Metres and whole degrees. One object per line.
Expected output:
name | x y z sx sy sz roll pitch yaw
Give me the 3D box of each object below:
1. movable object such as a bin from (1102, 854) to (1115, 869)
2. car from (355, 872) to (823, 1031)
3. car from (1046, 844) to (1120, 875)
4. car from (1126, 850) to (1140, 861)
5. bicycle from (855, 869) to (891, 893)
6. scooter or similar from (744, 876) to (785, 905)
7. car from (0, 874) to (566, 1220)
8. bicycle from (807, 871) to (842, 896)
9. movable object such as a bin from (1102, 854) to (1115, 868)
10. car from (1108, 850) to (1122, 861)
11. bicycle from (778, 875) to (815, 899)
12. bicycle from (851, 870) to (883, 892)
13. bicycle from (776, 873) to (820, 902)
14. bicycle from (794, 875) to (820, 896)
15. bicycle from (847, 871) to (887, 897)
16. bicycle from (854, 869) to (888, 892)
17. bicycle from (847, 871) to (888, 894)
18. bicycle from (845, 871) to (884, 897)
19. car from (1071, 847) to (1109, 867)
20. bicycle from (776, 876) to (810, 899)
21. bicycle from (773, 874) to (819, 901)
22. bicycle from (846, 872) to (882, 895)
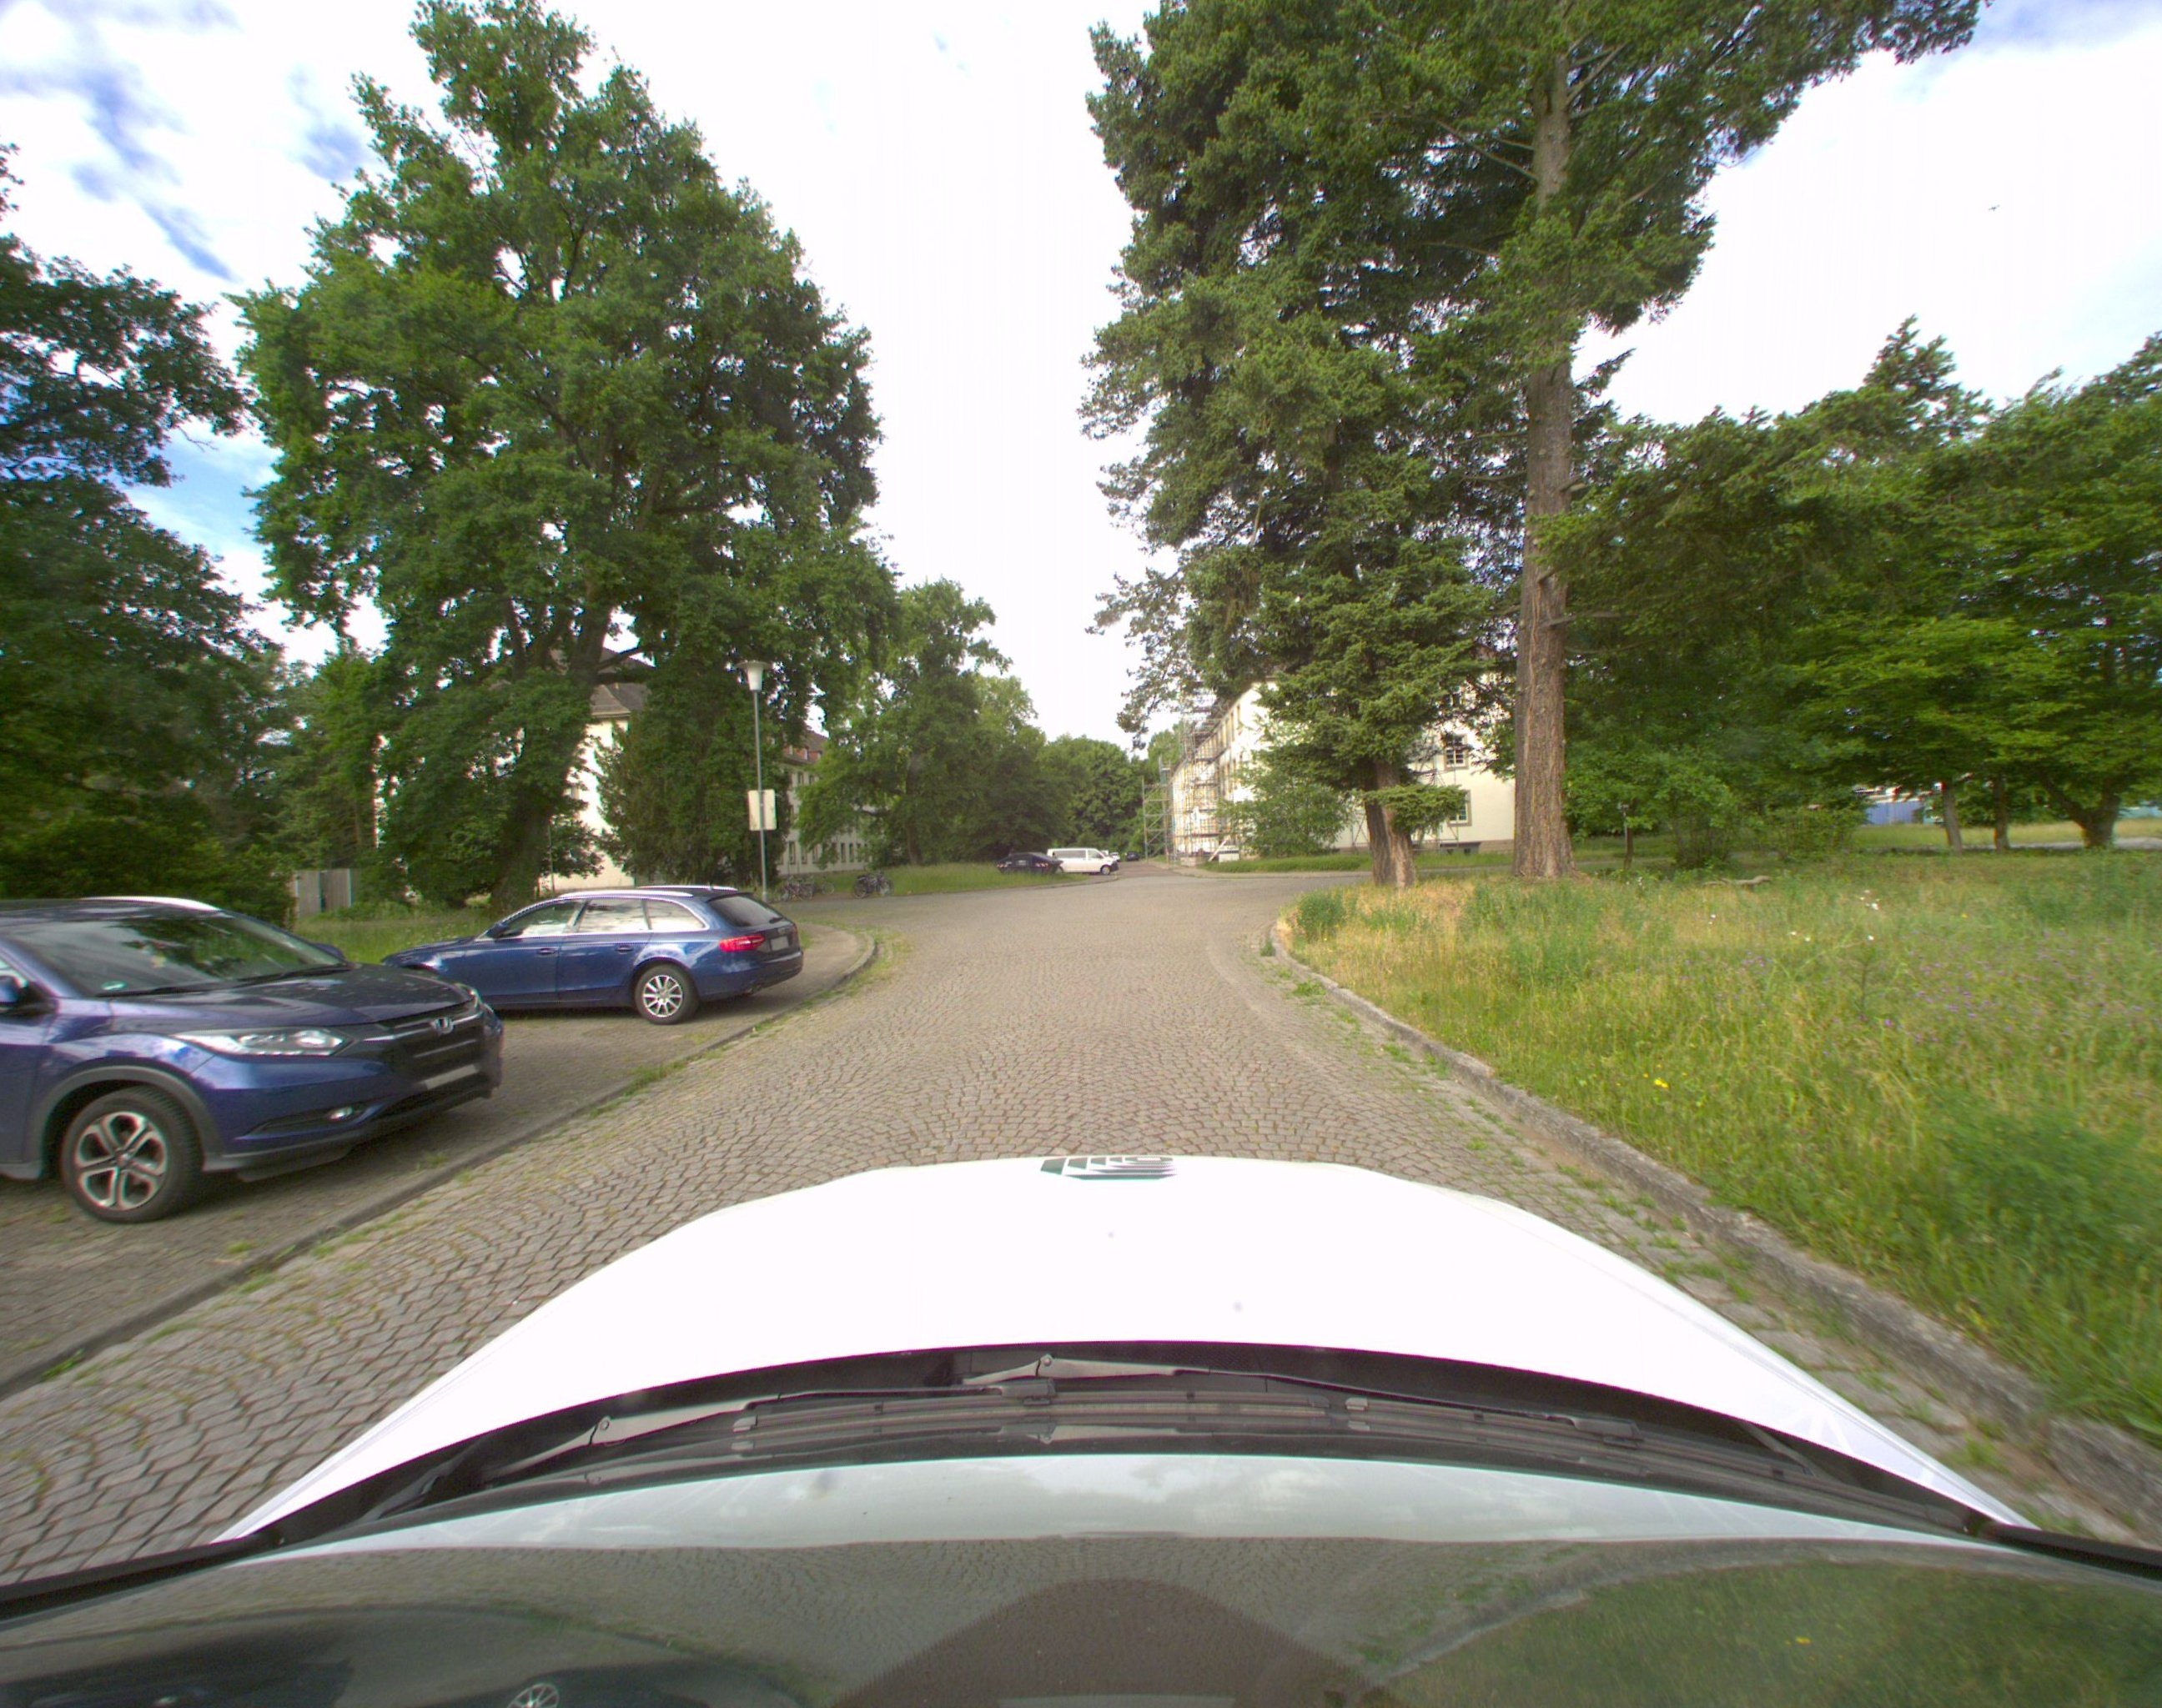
movable object such as a bin | 2.608 0.672 76.815 1.179 1.407 0.976 0 -1 3
car | -5.520 1.065 9.488 4.412 1.479 1.684 -2 0 3
car | 0.181 0.403 58.385 5.182 2.060 2.188 -2 -1 1
car | 7.967 0.270 124.508 2.053 1.593 4.005 0 -1 5
bicycle | -11.150 1.443 43.671 1.775 1.105 0.538 -4 2 -17
scooter or similar | -14.713 1.693 37.839 1.540 1.195 0.683 -3 1 5
car | -5.727 1.009 4.835 4.124 1.573 1.790 -2 -1 0
bicycle | -13.606 1.540 43.202 1.646 1.185 0.570 -3 2 -24
movable object such as a bin | 2.643 0.675 77.969 1.179 1.407 0.976 0 -1 3
car | 5.209 0.214 124.366 1.995 1.548 3.957 0 -1 -1
bicycle | -14.158 1.622 40.583 1.634 1.073 0.535 -3 2 -28
bicycle | -11.711 1.467 44.628 1.620 1.058 0.524 -4 2 -17
bicycle | -13.385 1.584 38.533 1.900 1.222 0.640 -3 2 -17
bicycle | -14.999 1.707 44.534 1.262 1.029 0.431 -4 -2 -17
bicycle | -10.422 1.460 39.628 1.772 1.103 0.698 -4 2 -17
bicycle | -11.375 1.435 44.164 1.701 1.116 0.538 -4 2 -17
bicycle | -11.001 1.464 41.869 1.959 1.004 0.682 -4 2 -17
bicycle | -10.738 1.458 40.335 1.798 1.103 0.698 -4 2 -17
car | 0.959 0.336 85.890 3.977 2.014 1.920 0 -1 -2
bicycle | -14.810 1.706 41.863 1.520 1.035 0.540 -3 2 -28
bicycle | -13.686 1.607 39.146 1.990 1.114 0.640 -3 2 -17
bicycle | -10.942 1.491 41.030 1.695 1.001 0.628 -4 2 -17
